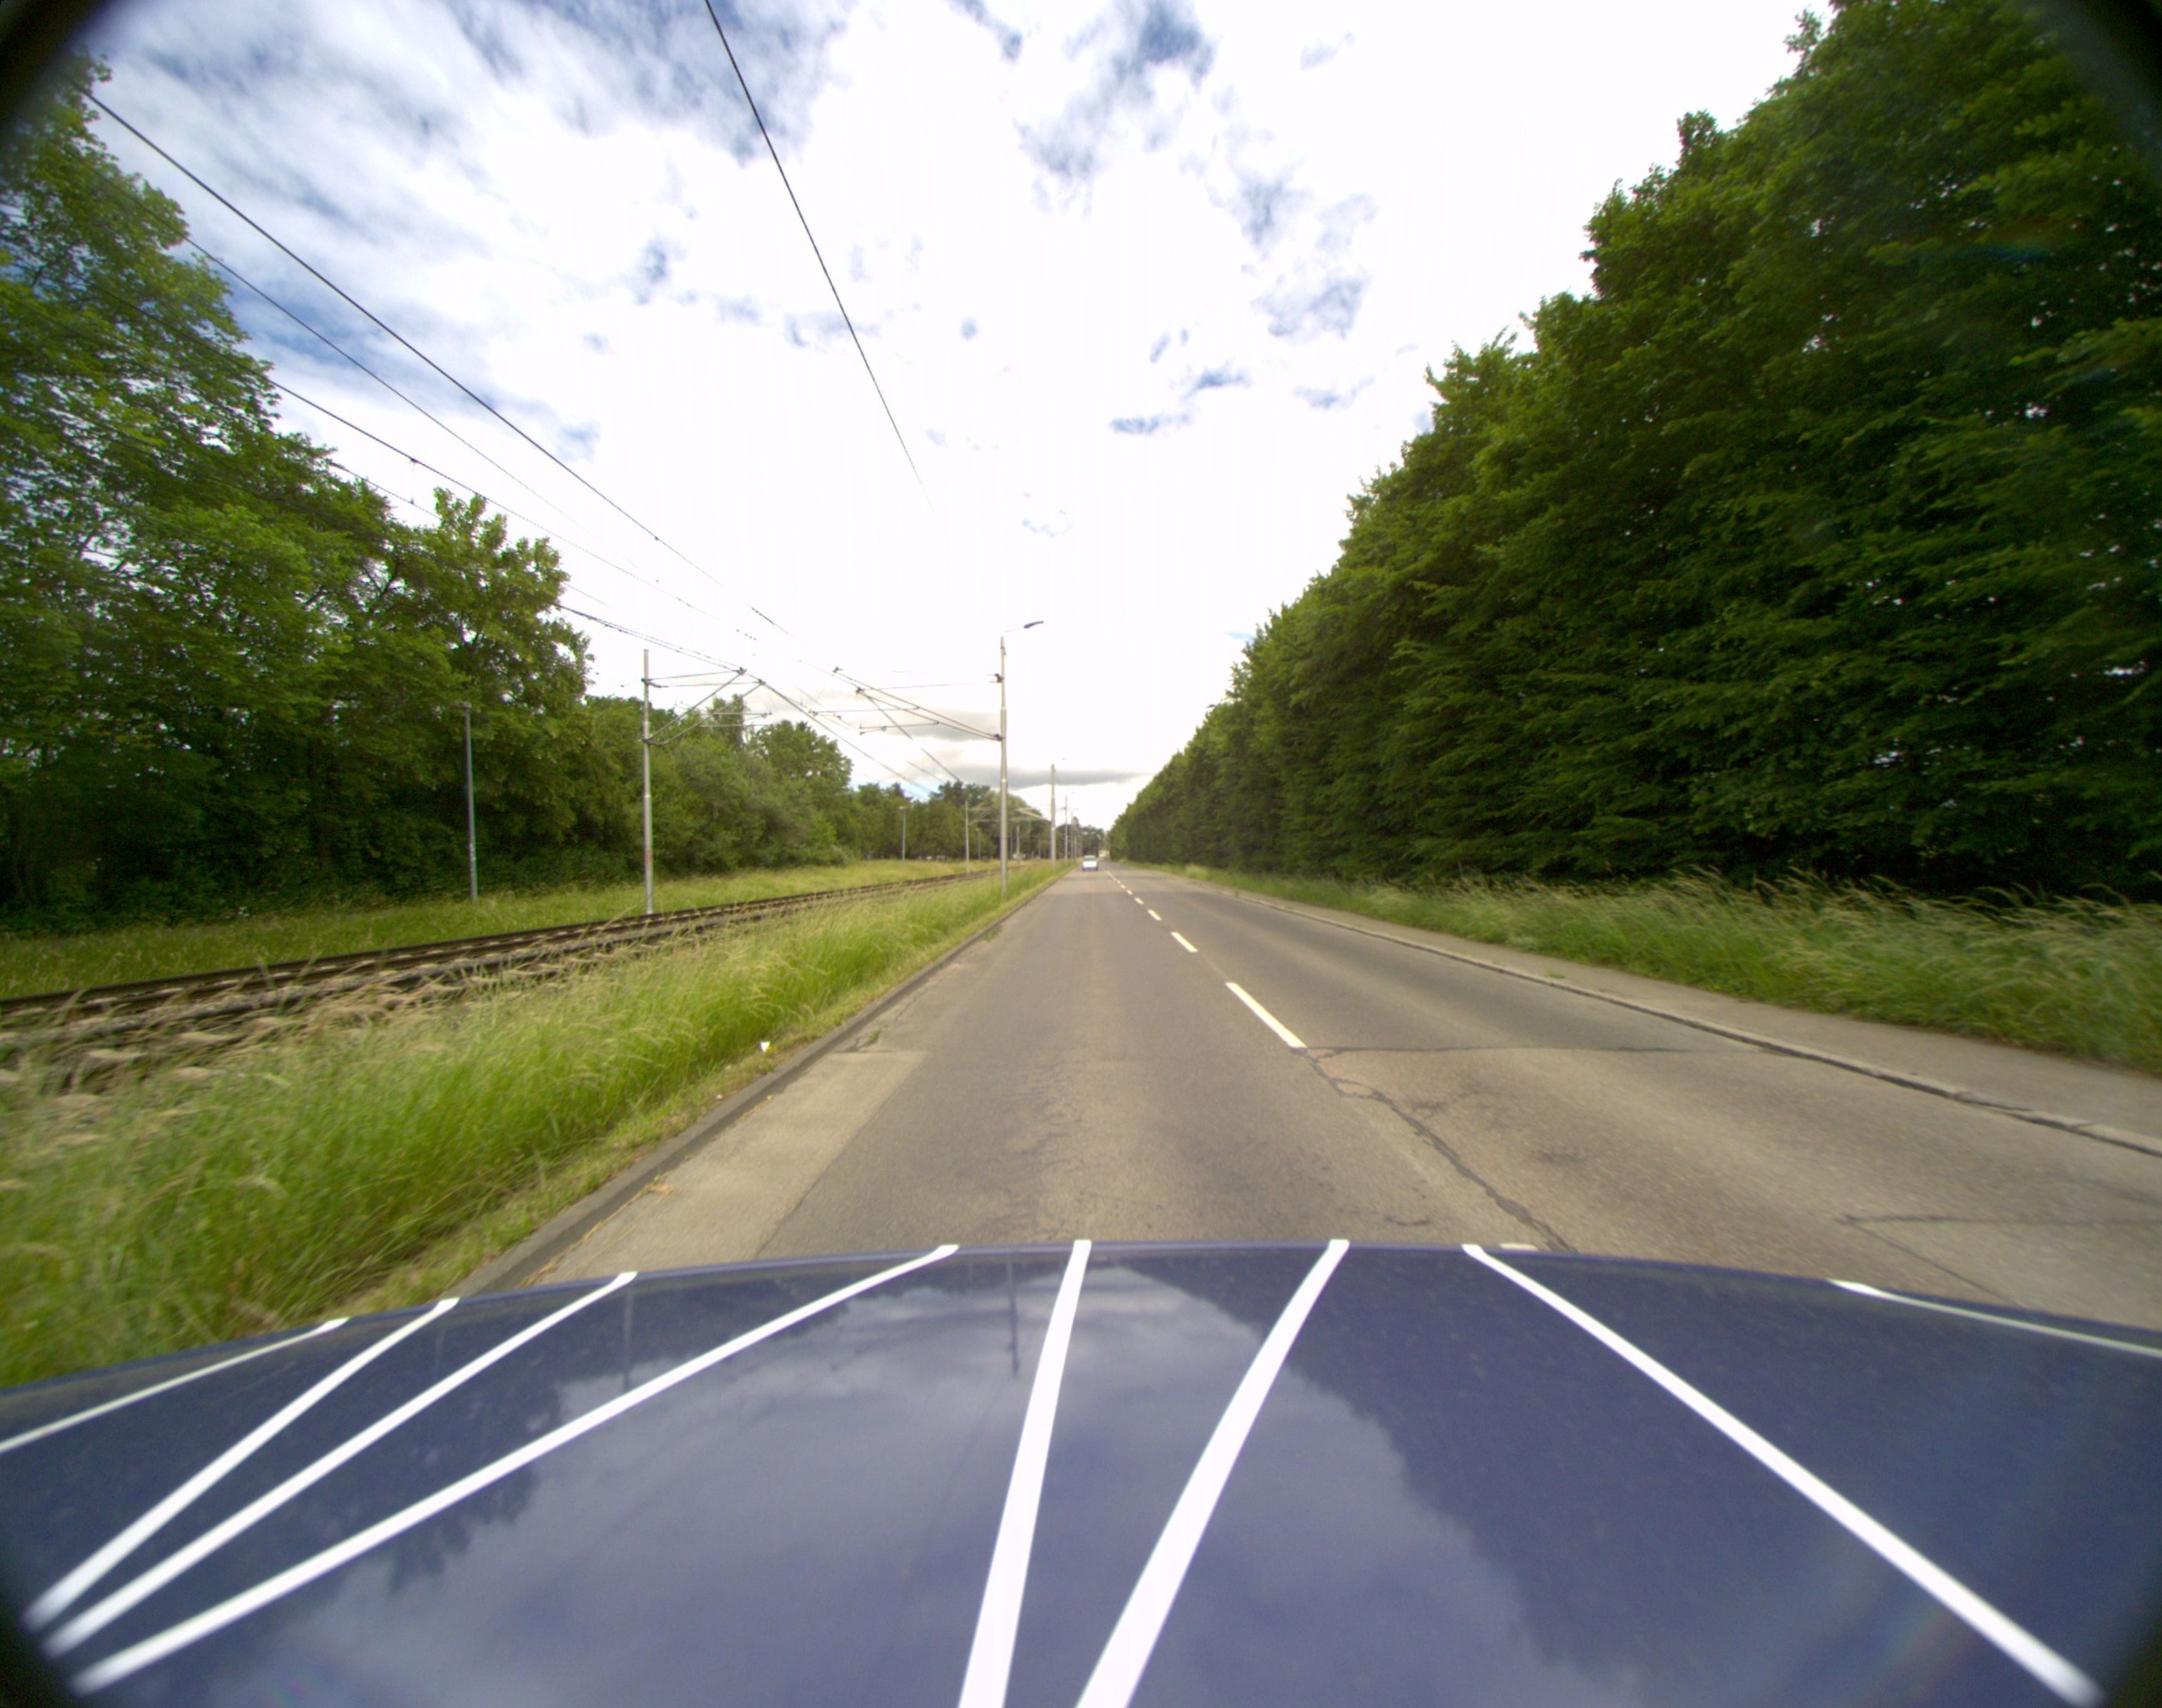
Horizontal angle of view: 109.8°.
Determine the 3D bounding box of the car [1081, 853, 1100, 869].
[{"bbox_3d":[1.023,0.728,83.129,1.999,1.679,4.000,-1,0,0],"label":"car"}]
